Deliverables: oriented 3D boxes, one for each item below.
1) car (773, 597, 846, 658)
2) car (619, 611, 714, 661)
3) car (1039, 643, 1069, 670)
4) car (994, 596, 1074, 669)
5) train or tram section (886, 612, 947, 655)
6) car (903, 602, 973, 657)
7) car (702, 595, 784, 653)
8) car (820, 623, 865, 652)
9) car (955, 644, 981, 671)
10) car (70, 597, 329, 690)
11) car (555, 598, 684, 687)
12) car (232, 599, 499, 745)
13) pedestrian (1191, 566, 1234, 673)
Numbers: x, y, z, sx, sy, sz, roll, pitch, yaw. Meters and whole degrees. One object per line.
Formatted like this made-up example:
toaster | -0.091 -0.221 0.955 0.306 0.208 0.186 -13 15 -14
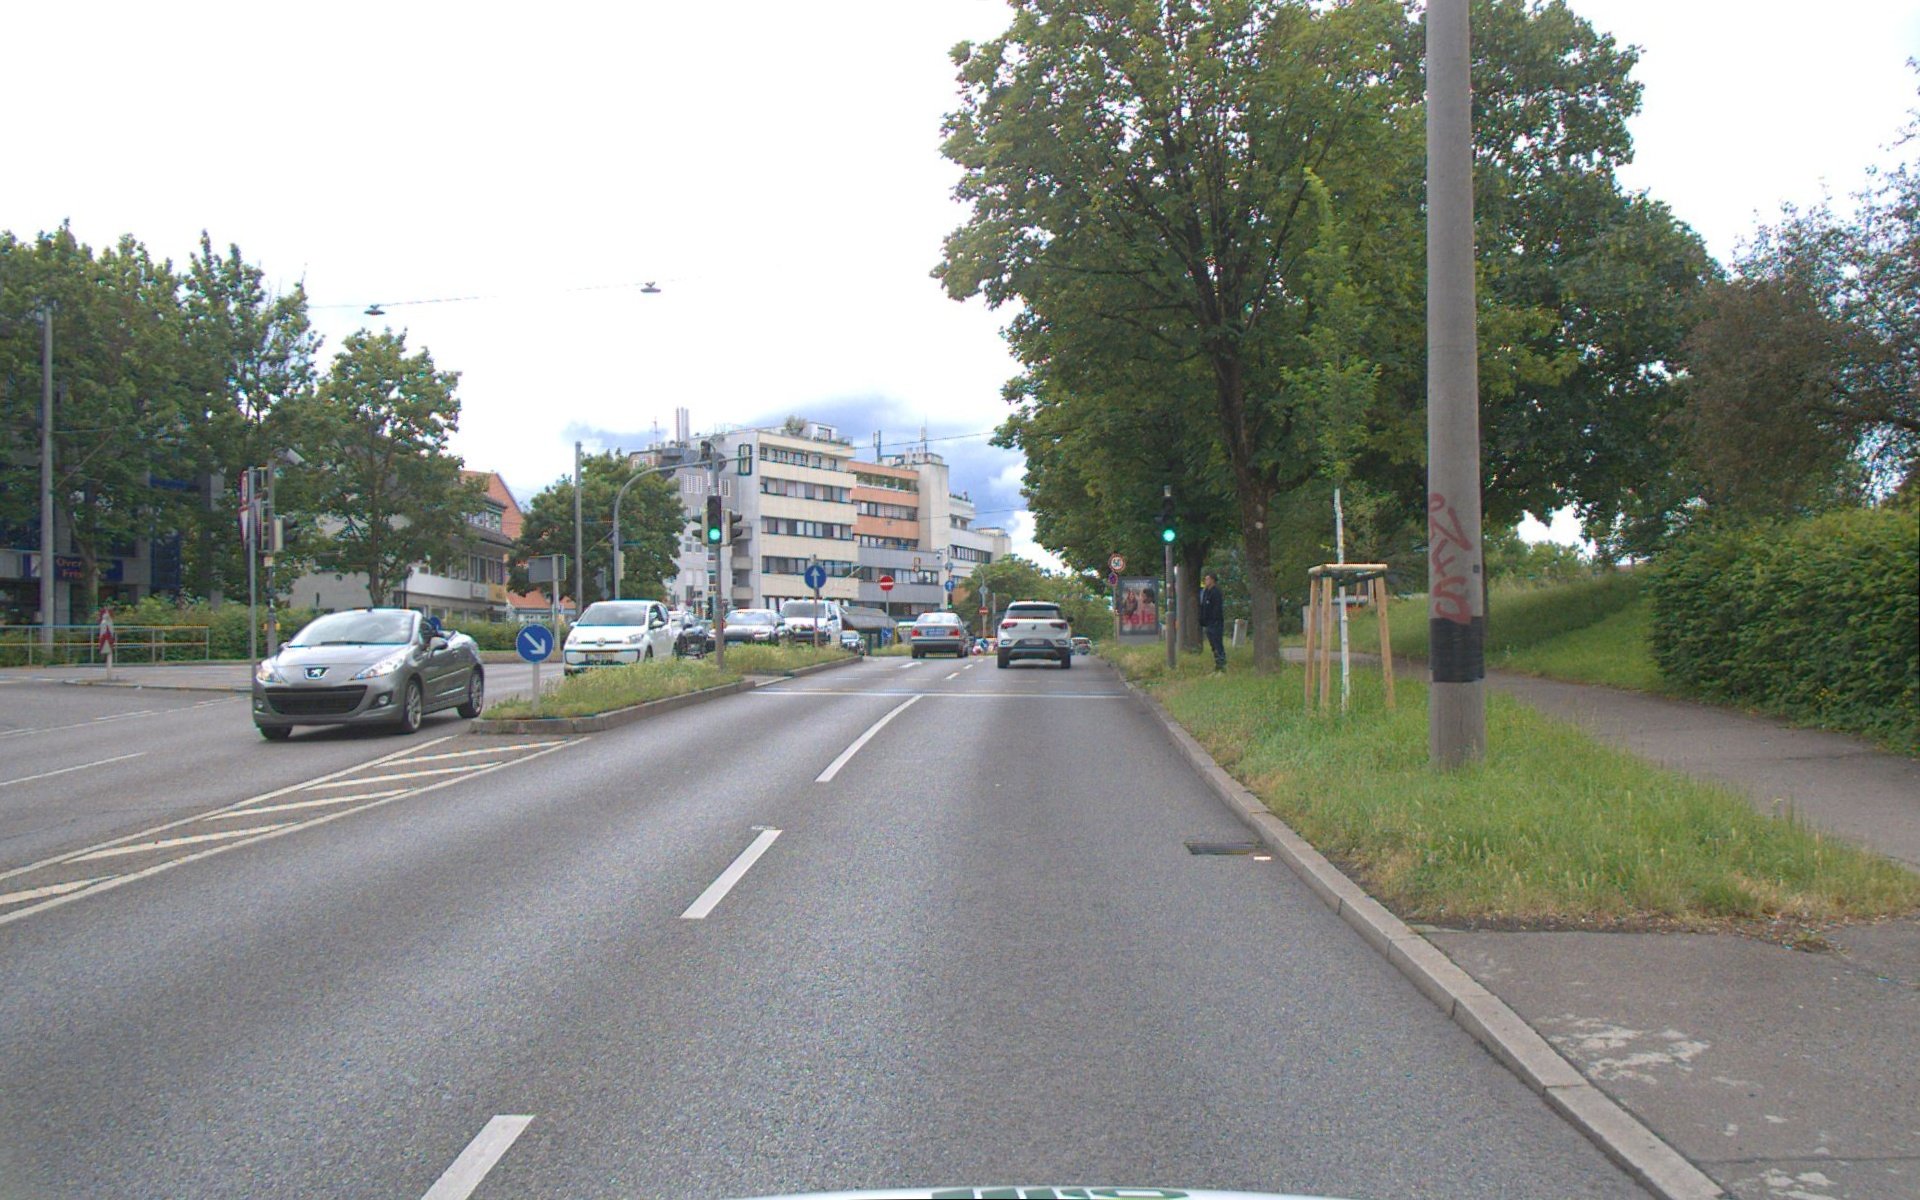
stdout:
car | -5.203 0.927 57.814 1.797 2.037 4.860 0 0 4
car | -8.784 1.060 49.732 1.746 1.403 3.953 0 0 7
car | 6.287 3.792 110.848 1.734 1.598 4.285 -1 1 1
car | 1.829 0.742 40.059 1.664 1.575 3.739 2 1 6
train or tram section | -3.708 3.068 146.498 2.505 3.471 13.091 -2 -3 11
car | -0.648 0.886 51.527 1.663 1.542 3.739 -1 1 7
car | -6.111 0.640 47.014 1.741 1.507 4.480 -2 0 -1
car | -6.305 2.015 89.139 1.822 1.453 4.002 -1 -1 4
car | 0.704 4.913 140.886 1.951 2.049 4.837 1 1 4
car | -13.934 0.753 30.464 1.748 1.571 3.979 -1 0 40
car | -6.625 0.785 32.582 1.741 1.592 3.999 -1 0 -1
car | -6.889 0.768 19.603 1.741 1.507 3.980 -1 0 -1
pedestrian | 4.570 0.347 29.937 0.629 1.888 0.672 -1 0 -3
